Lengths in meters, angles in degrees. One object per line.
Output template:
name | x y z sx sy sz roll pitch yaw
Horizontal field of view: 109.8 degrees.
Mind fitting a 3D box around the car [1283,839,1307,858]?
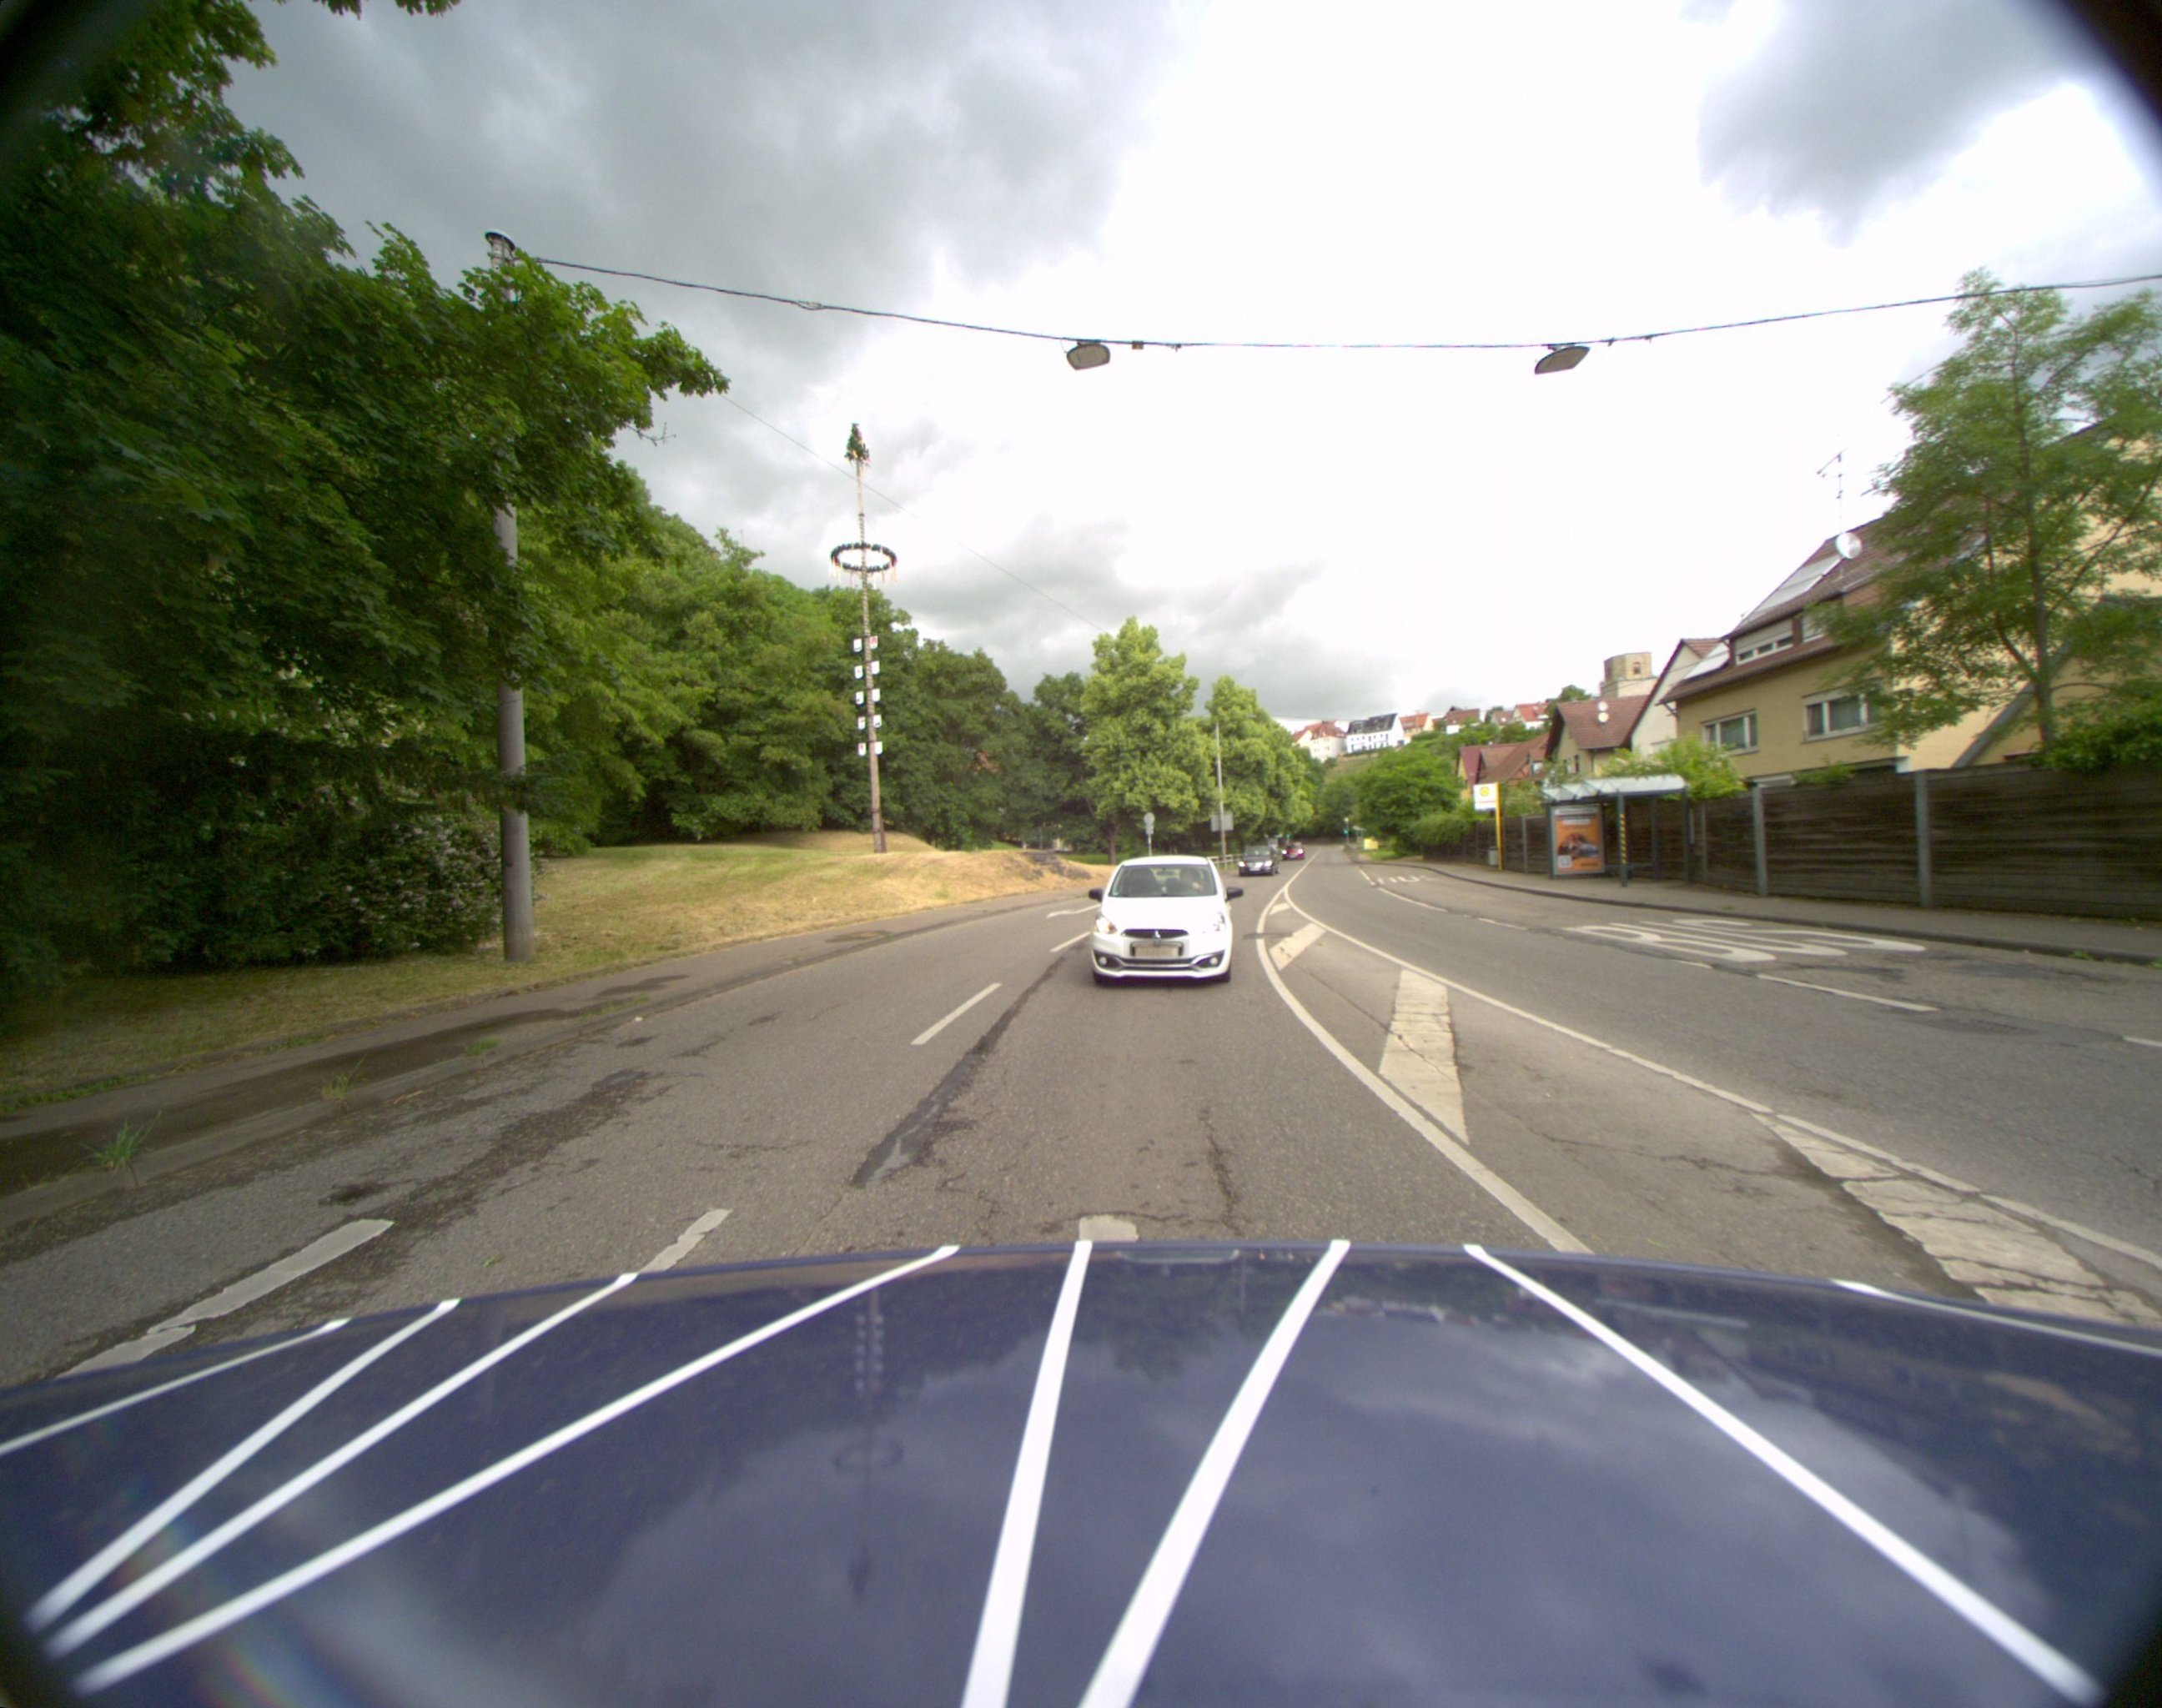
car | 19.971 -0.510 70.788 1.826 1.662 4.063 -2 1 19

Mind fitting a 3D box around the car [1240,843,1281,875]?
car | 9.520 0.237 40.086 1.722 1.539 3.786 -2 1 18

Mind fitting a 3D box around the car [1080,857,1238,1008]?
car | 1.099 0.856 9.892 1.617 1.505 3.607 -2 1 9
